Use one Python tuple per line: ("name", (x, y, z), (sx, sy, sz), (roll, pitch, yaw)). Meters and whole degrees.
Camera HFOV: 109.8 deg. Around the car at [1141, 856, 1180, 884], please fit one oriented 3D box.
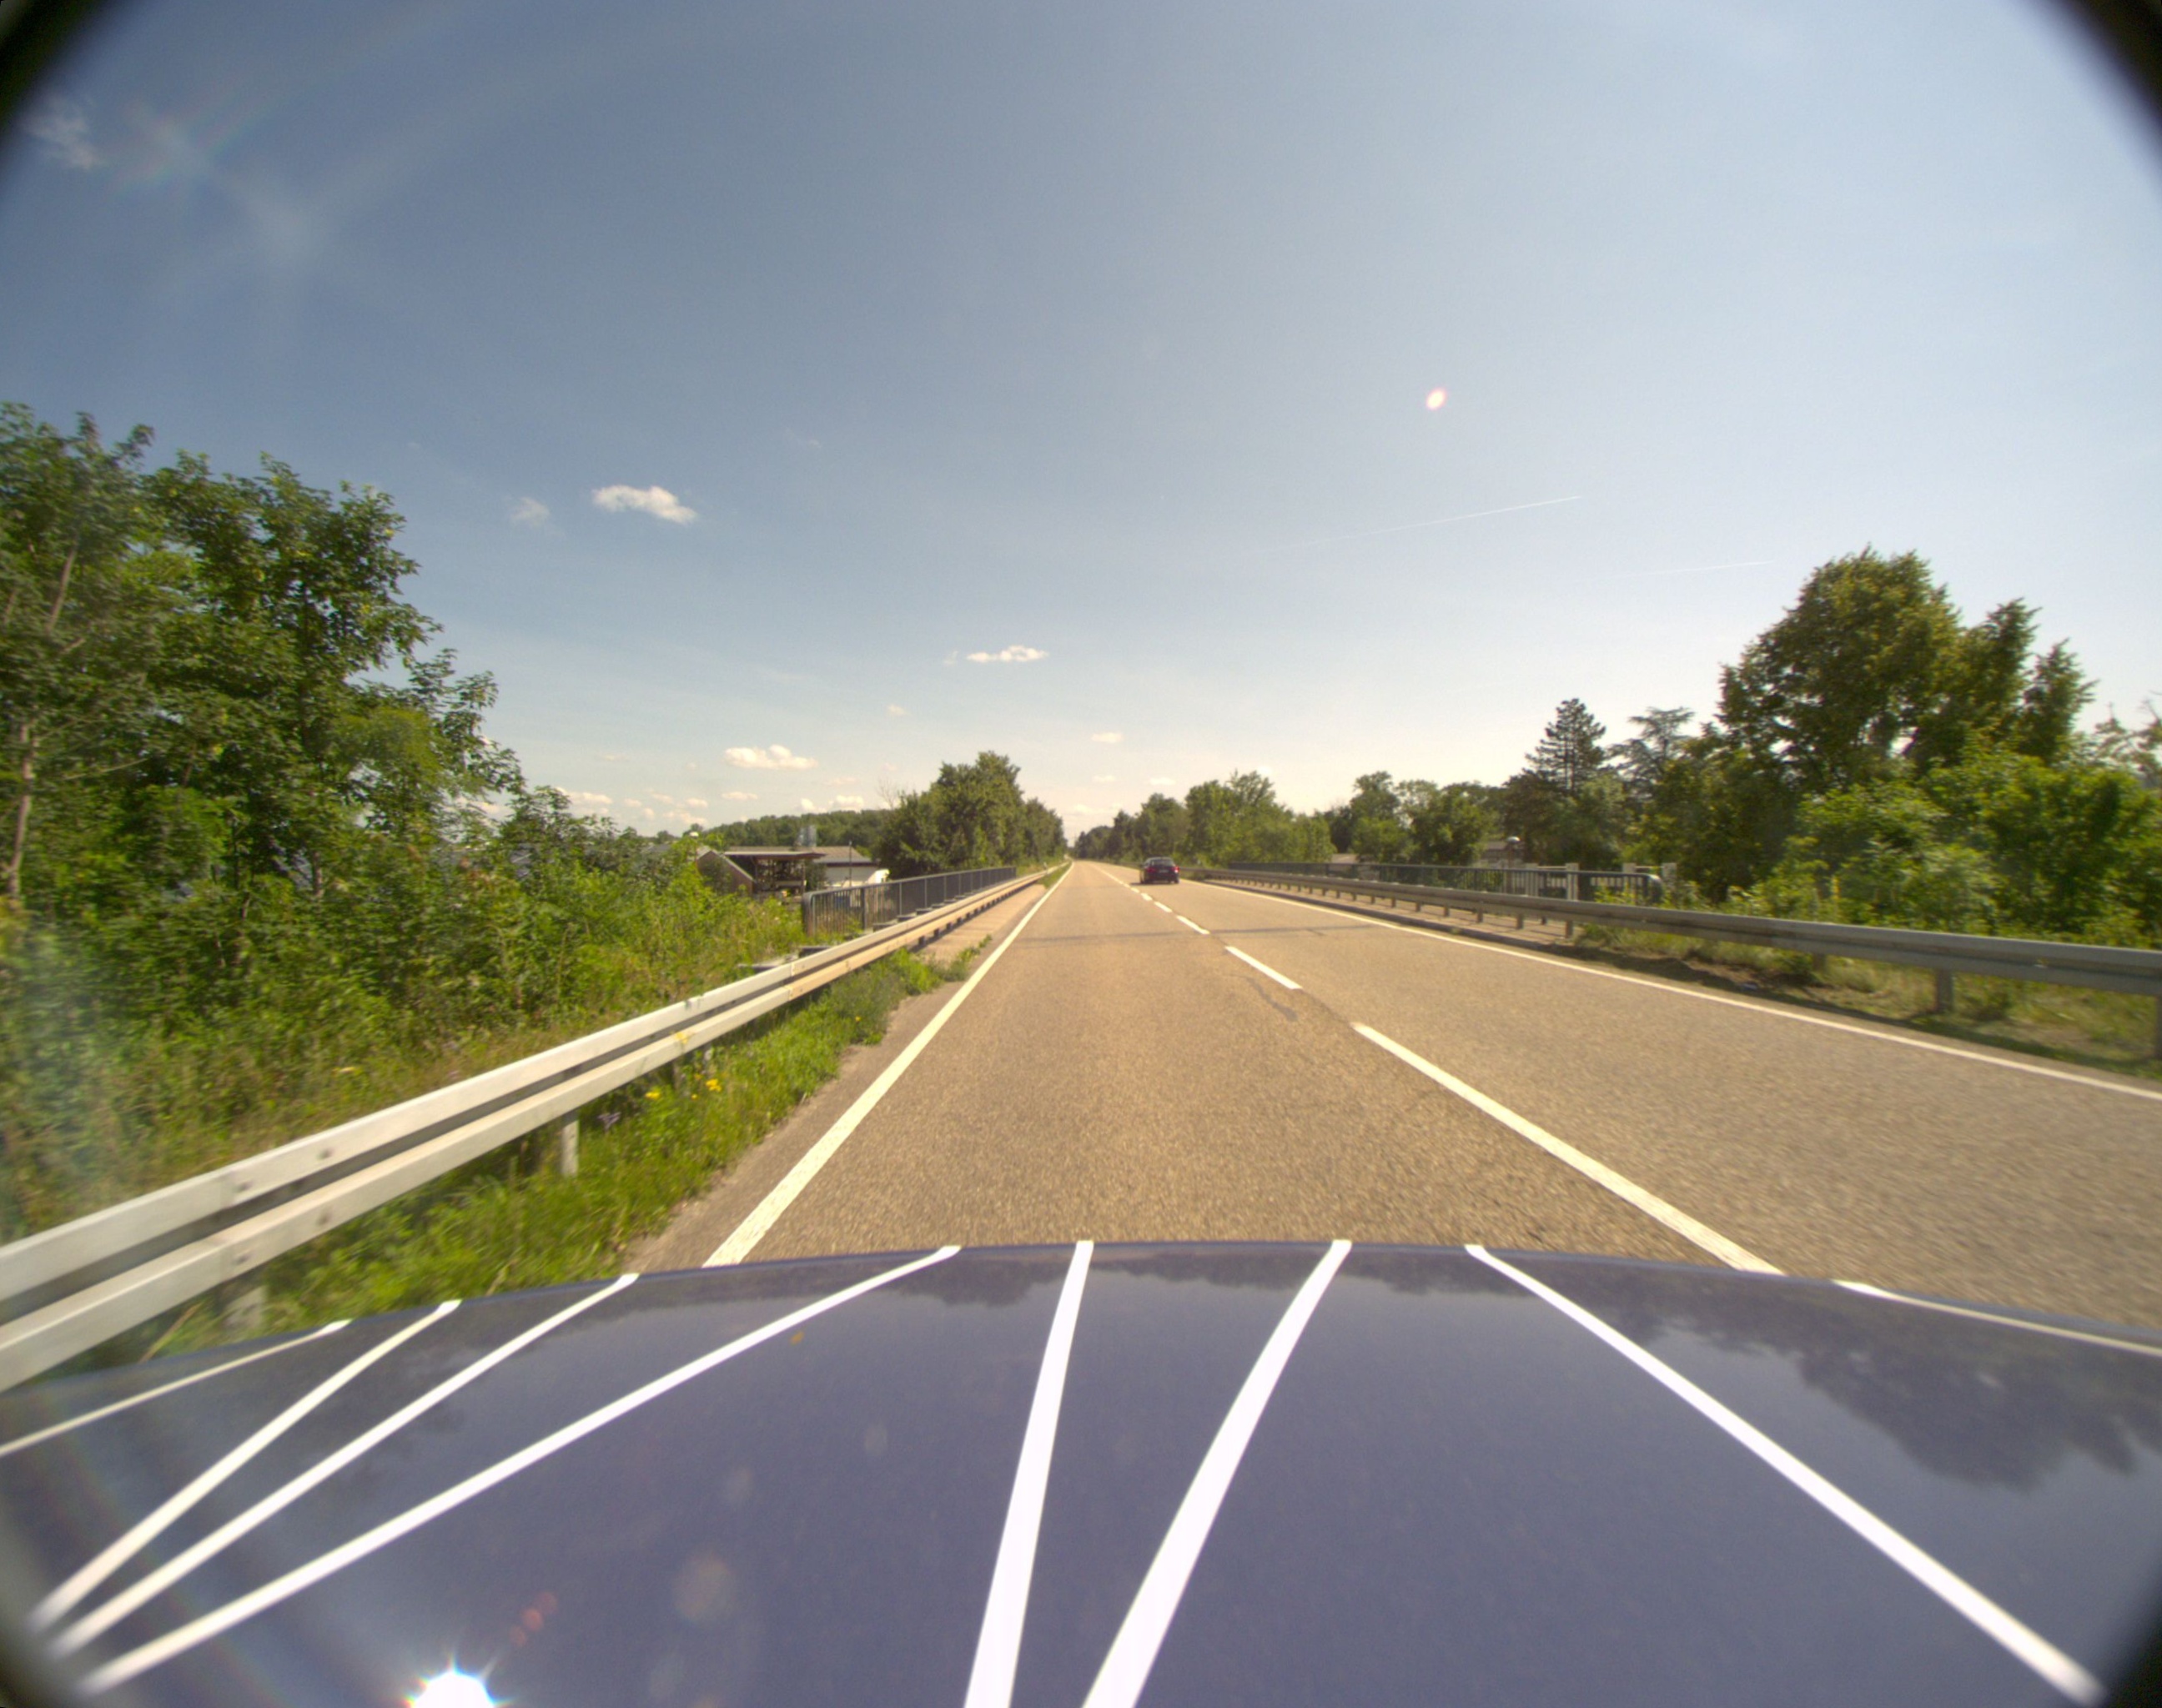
("car", (4.372, 0.876, 42.360), (1.750, 1.416, 4.677), (-1, 0, 0))
